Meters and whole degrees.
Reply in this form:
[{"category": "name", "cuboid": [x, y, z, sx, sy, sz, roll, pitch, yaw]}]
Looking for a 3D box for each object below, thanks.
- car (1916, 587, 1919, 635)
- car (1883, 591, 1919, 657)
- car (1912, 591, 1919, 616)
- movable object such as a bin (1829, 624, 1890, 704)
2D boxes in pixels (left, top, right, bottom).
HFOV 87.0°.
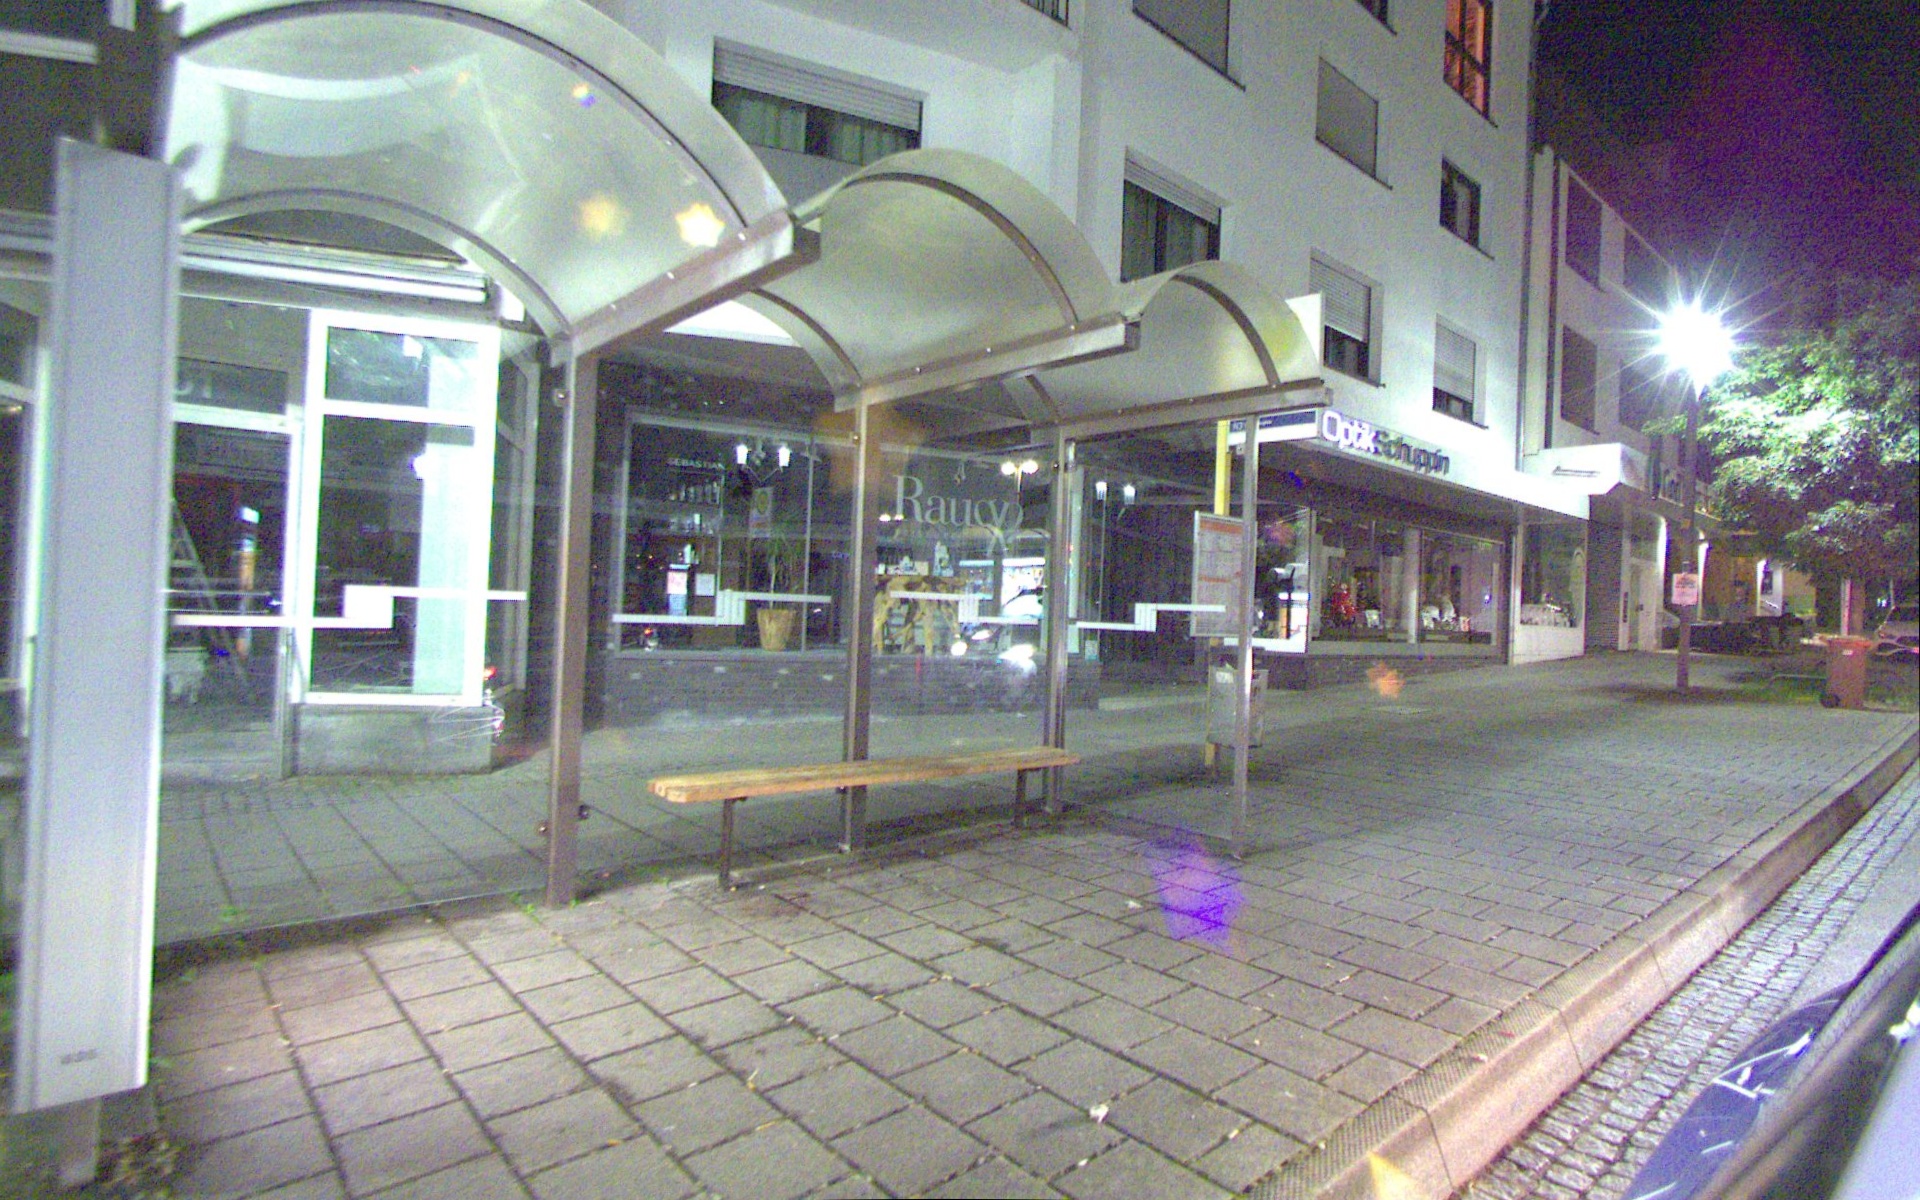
[{"category": "car", "cuboid": [35.305, 0.392, 35.964, 1.788, 1.661, 4.309, 4, 3, 44]}, {"category": "car", "cuboid": [23.801, 0.554, 24.517, 4.519, 1.459, 1.859, -1, 3, -45]}, {"category": "car", "cuboid": [59.764, 0.220, 62.327, 1.638, 1.485, 3.717, -1, 0, 43]}, {"category": "movable object such as a bin", "cuboid": [11.402, 0.800, 12.841, 0.523, 0.948, 0.621, 0, 1, 38]}]
